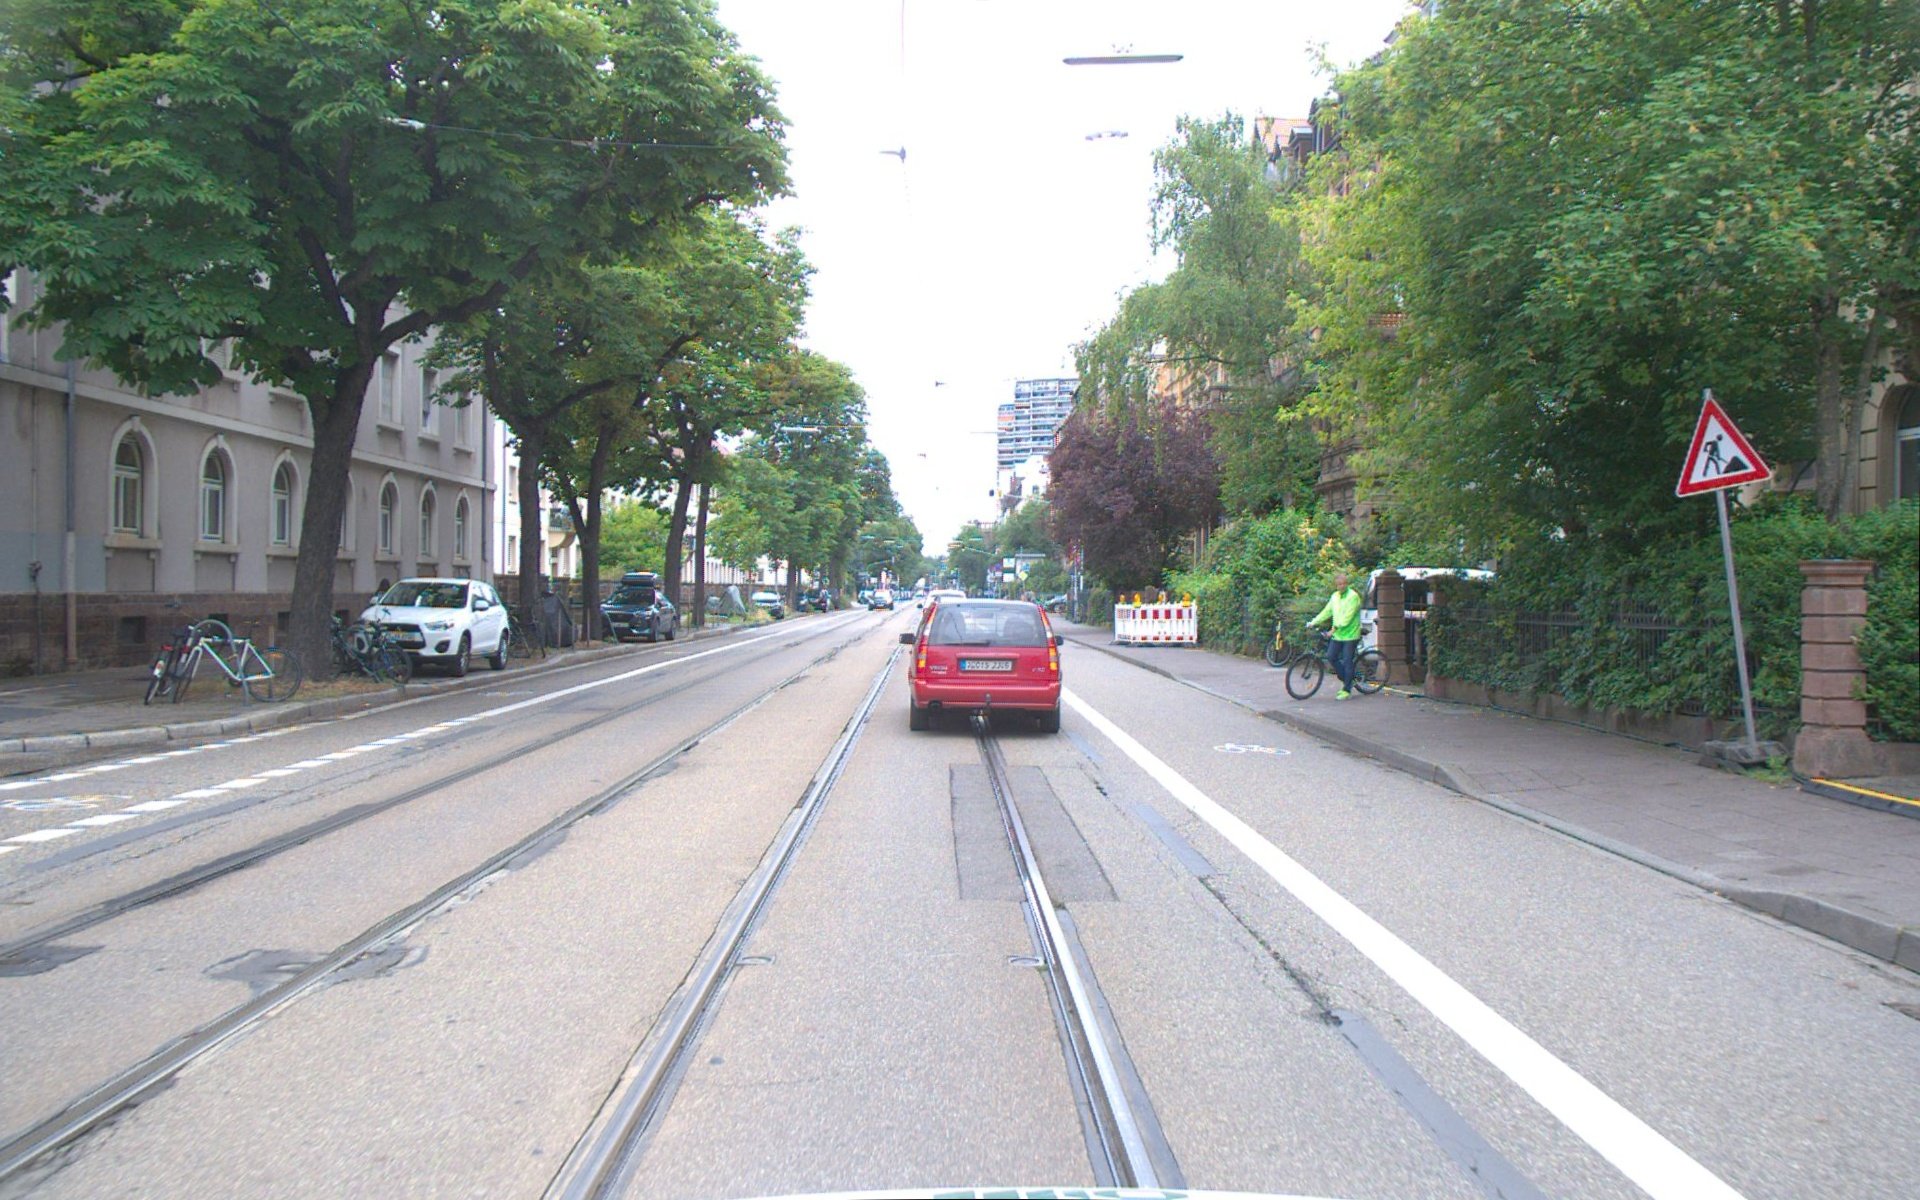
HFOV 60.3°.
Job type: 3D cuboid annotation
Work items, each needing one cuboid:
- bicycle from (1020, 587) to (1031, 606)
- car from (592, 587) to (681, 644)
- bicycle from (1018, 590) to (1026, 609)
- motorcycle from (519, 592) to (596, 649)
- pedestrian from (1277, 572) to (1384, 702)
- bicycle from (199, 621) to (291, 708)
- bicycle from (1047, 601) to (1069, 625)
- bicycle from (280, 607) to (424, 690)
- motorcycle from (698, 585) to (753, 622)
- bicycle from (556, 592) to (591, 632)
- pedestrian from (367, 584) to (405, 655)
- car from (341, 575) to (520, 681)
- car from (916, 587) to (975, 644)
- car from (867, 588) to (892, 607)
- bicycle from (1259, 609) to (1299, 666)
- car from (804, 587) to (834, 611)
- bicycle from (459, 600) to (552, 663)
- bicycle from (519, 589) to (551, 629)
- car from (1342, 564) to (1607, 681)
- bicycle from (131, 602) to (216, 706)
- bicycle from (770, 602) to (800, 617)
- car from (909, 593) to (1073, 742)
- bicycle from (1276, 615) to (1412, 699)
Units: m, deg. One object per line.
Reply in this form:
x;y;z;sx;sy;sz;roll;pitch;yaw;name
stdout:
4.781;-0.263;119.976;0.694;1.323;1.904;0;0;-1;bicycle
-9.317;0.424;47.931;1.741;1.537;4.237;1;0;0;car
4.732;-0.040;126.404;0.540;1.424;1.733;0;0;-1;bicycle
-9.570;0.476;39.446;0.845;1.310;2.324;1;0;12;motorcycle
5.289;0.513;23.710;1.204;1.763;1.018;-3;0;-2;pedestrian
-8.600;0.761;19.934;0.473;0.975;1.398;0;0;1;bicycle
6.318;0.820;106.522;0.898;1.533;2.382;1;0;16;bicycle
-9.074;0.718;24.731;1.883;1.140;0.624;2;0;-1;bicycle
-9.880;0.138;69.673;2.225;1.538;0.924;0;-2;34;motorcycle
-13.779;0.402;59.011;0.776;1.406;2.141;0;0;-1;bicycle
-12.072;0.406;34.808;0.553;1.493;0.722;0;0;-1;pedestrian
-9.129;0.434;28.861;1.859;1.684;4.224;1;0;-2;car
-0.396;0.443;50.700;1.683;1.653;3.941;1;0;1;car
-5.950;-0.207;122.245;1.720;1.404;4.025;0;0;-2;car
6.226;0.724;32.294;0.469;1.063;1.531;0;0;-1;bicycle
-9.769;-0.063;114.768;1.813;1.590;3.942;1;0;-1;car
-9.366;0.643;34.083;1.706;1.213;0.653;2;0;13;bicycle
-15.004;0.310;58.473;0.615;1.406;2.140;0;0;-1;bicycle
8.637;0.368;27.985;3.906;1.891;1.808;0;0;-1;car
-9.636;0.630;20.326;0.664;1.155;1.927;0;2;-17;bicycle
-10.570;0.577;99.963;1.713;0.858;0.684;1;0;0;bicycle
0.287;0.683;18.857;1.655;1.466;3.742;2;0;-1;car
5.618;0.826;24.267;1.804;1.094;0.606;-3;0;-2;bicycle
